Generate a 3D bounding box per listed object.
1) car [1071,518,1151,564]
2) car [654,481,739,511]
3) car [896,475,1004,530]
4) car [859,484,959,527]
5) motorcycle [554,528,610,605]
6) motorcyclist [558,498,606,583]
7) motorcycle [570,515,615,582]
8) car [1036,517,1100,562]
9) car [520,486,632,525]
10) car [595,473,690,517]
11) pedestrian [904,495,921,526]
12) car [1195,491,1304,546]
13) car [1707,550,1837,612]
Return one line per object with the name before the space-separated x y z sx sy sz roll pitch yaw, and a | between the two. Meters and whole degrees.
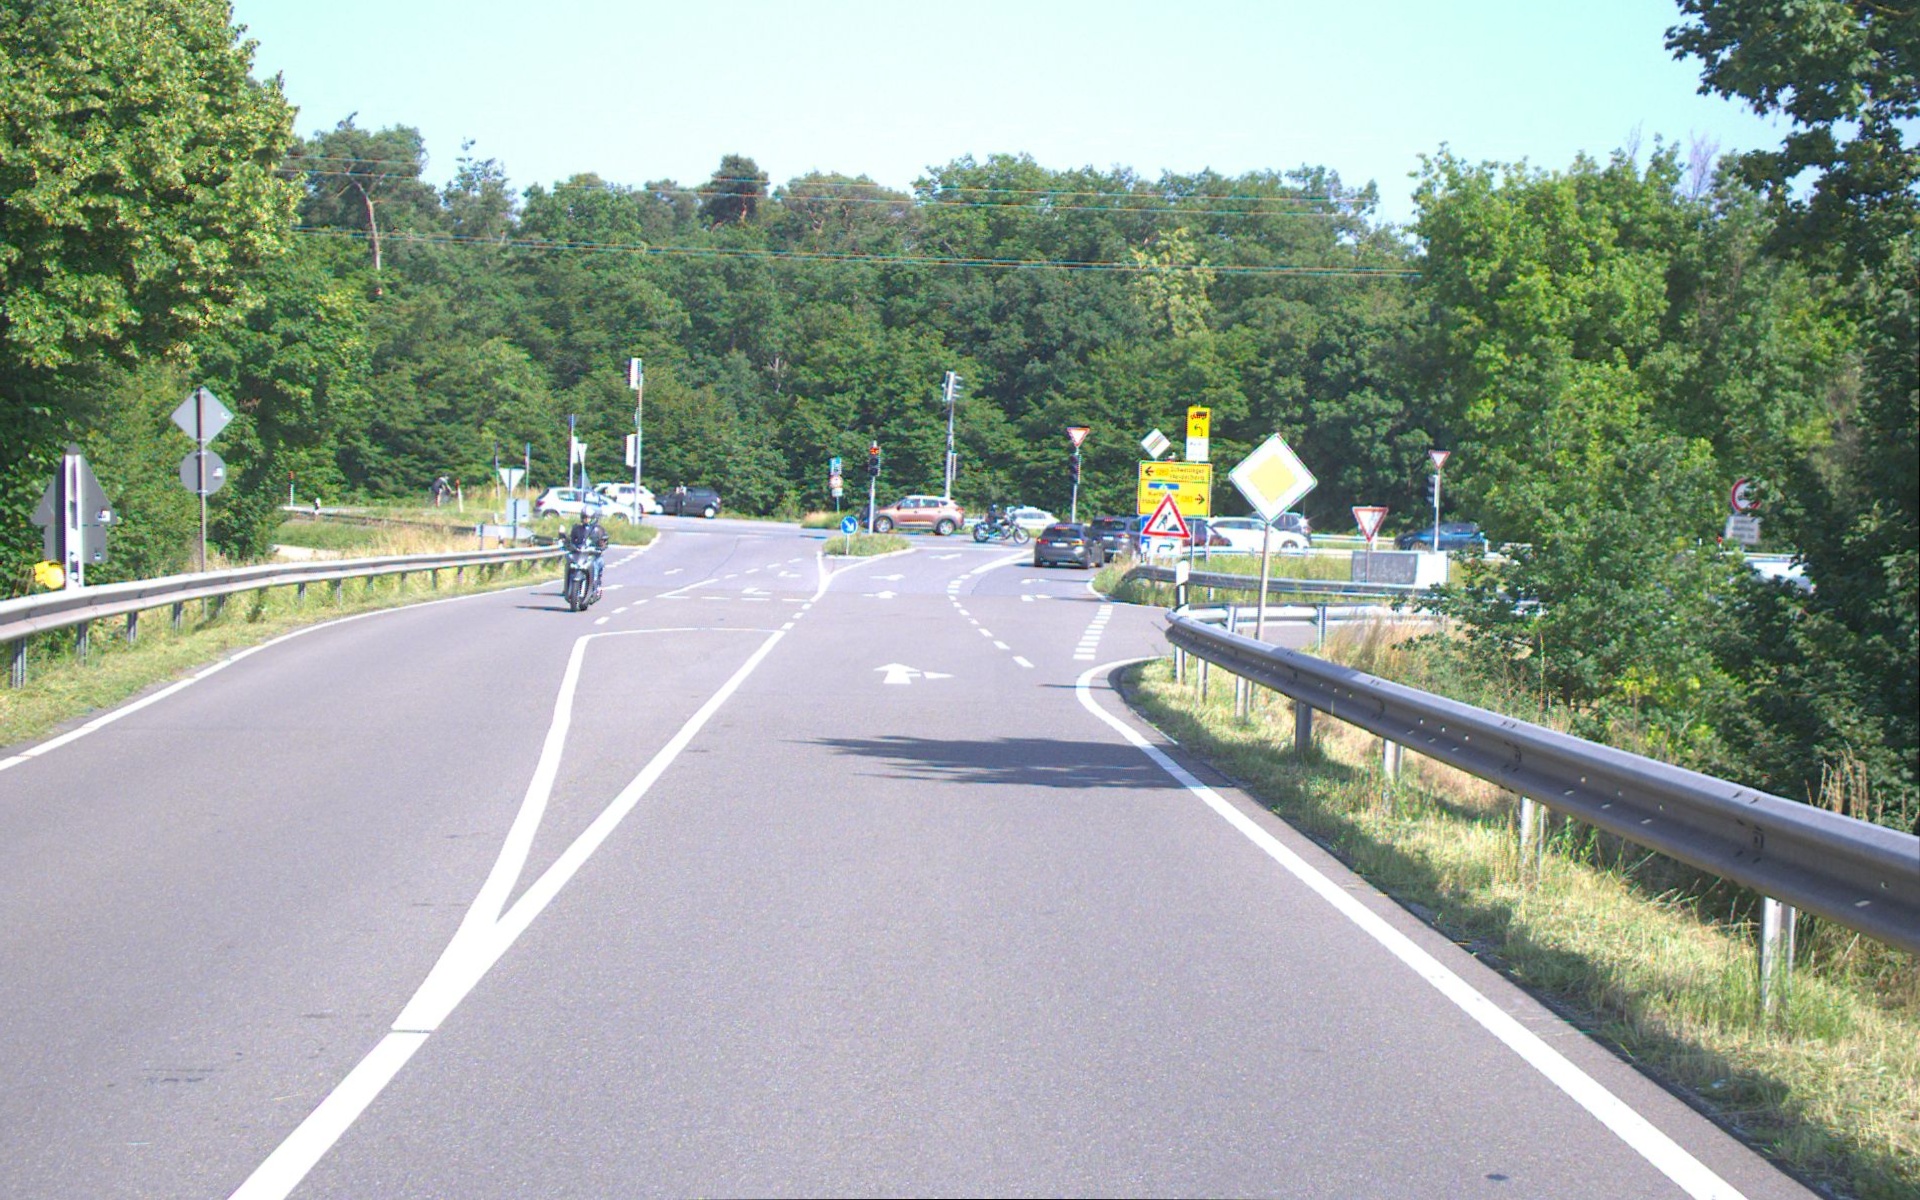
car | 5.284 -2.068 119.865 1.801 1.495 3.997 3 2 17
car | -12.642 -4.999 164.930 3.986 1.417 1.796 0 1 -6
car | -0.396 -3.811 134.757 3.986 2.006 1.801 1 2 -8
car | -2.148 -3.974 144.710 3.986 1.744 1.764 0 1 -9
motorcycle | -6.285 -0.566 57.180 0.717 1.246 2.078 0 1 0
motorcyclist | -6.281 -0.991 57.116 0.699 1.403 0.784 0 1 0
motorcycle | -7.361 -1.042 68.911 0.717 1.304 2.182 0 1 -2
car | 3.543 -2.001 112.555 1.800 1.393 3.999 -1 1 6
car | -14.748 -3.634 132.082 4.227 1.454 2.001 0 1 -7
car | -14.594 -4.810 157.866 3.986 2.007 1.796 0 2 -21
pedestrian | -2.074 -3.919 150.484 0.524 1.386 0.513 1 2 34
car | 11.416 -3.237 135.550 3.986 2.006 1.801 2 2 -4
car | 29.192 -0.686 123.581 3.997 1.870 1.887 6 3 39
